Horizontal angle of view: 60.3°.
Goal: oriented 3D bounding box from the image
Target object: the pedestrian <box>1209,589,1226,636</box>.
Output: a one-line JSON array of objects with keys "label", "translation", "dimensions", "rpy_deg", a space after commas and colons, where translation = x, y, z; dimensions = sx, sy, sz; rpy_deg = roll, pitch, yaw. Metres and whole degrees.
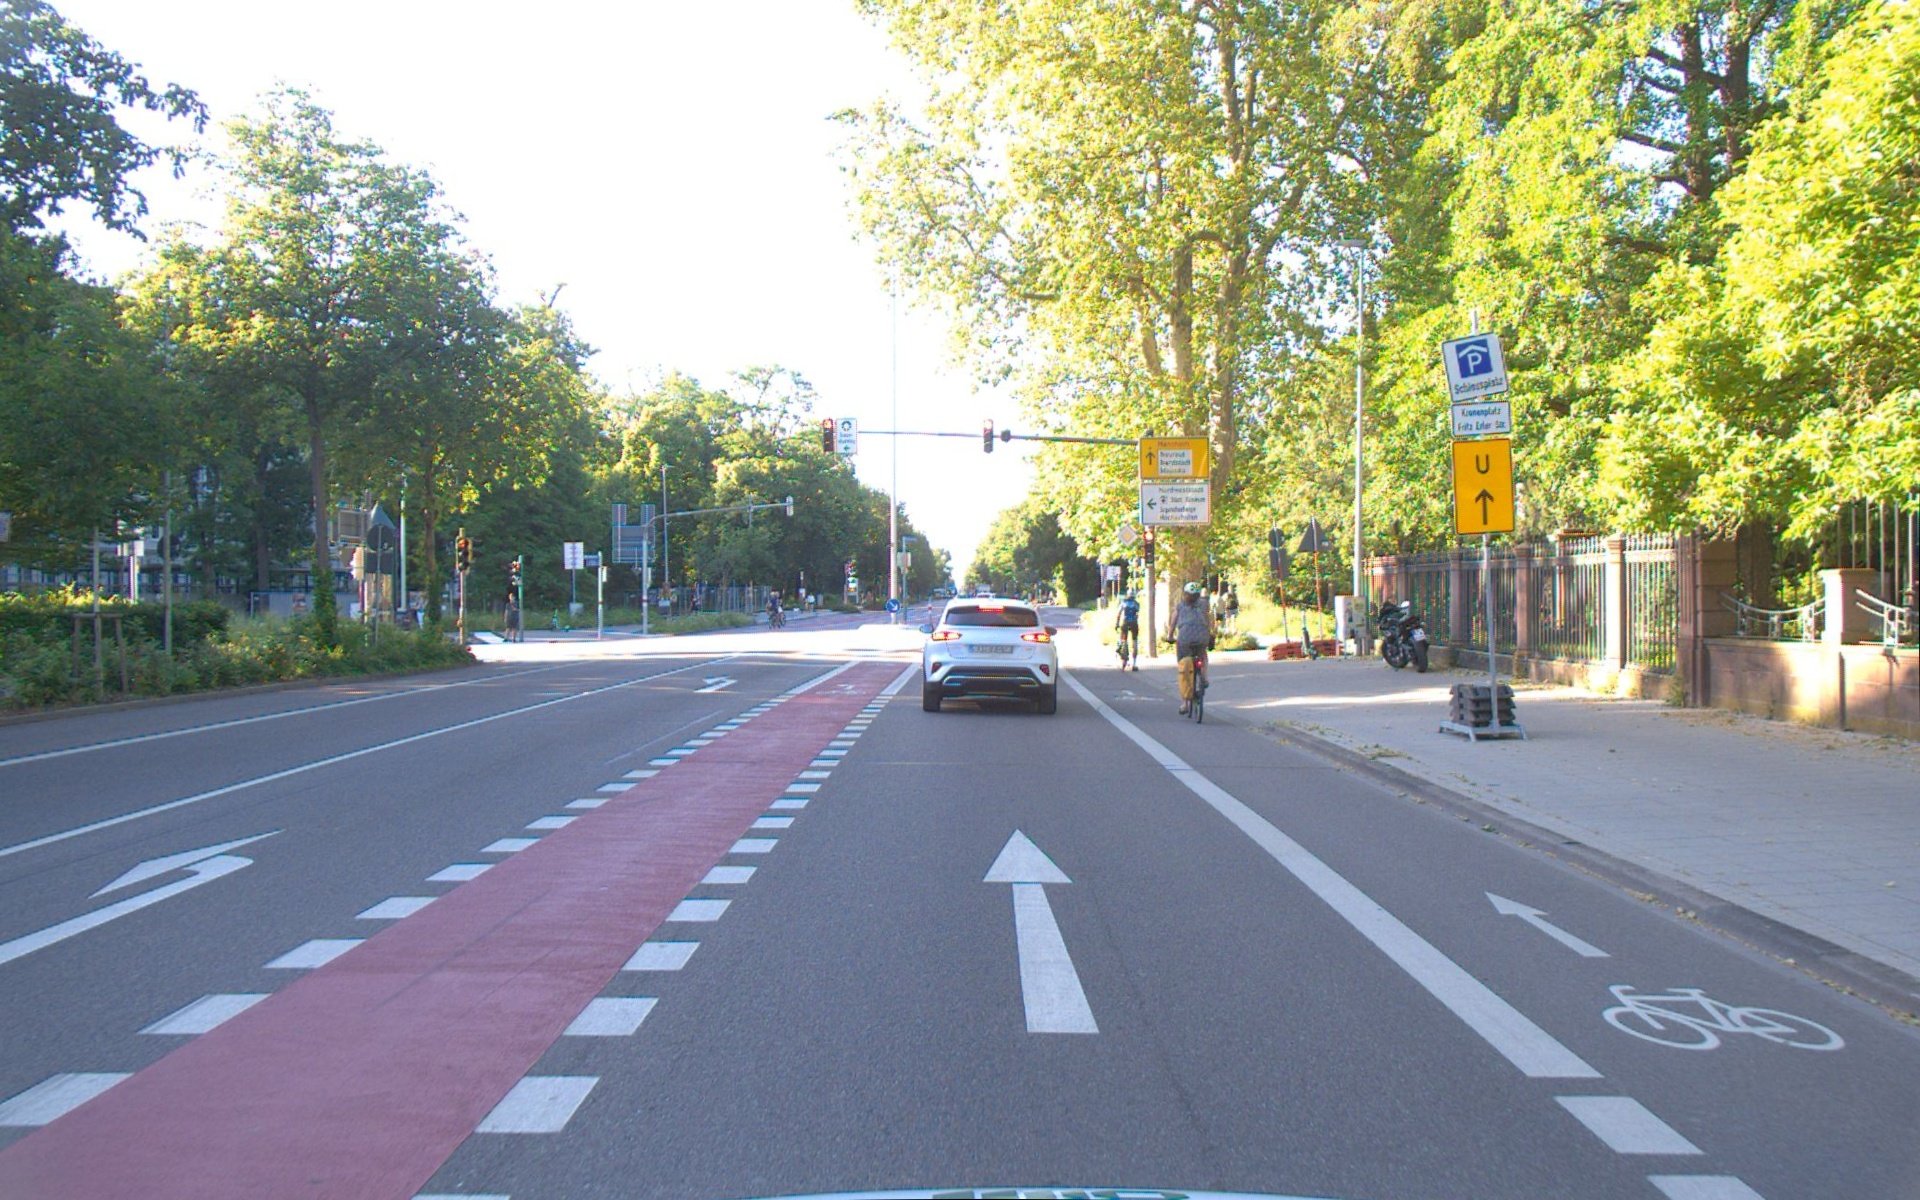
[{"label": "pedestrian", "translation": [9.307, 0.445, 59.754], "dimensions": [0.472, 1.668, 0.432], "rpy_deg": [-3, 3, 6]}]

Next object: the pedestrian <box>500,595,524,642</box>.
[{"label": "pedestrian", "translation": [-18.173, 0.739, 67.116], "dimensions": [0.673, 1.823, 0.769], "rpy_deg": [-4, 1, -1]}]

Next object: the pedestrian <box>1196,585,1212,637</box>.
[{"label": "pedestrian", "translation": [8.793, 0.408, 59.568], "dimensions": [0.472, 1.823, 0.432], "rpy_deg": [-3, 3, 6]}]

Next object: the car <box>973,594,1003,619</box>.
[{"label": "car", "translation": [1.890, 0.395, 110.281], "dimensions": [1.700, 1.573, 4.003], "rpy_deg": [-1, 1, 5]}]

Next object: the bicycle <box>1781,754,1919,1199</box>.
[{"label": "bicycle", "translation": [2.661, 0.969, 3.603], "dimensions": [0.630, 1.042, 2.212], "rpy_deg": [1, 0, 0]}]

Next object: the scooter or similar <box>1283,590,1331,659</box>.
[{"label": "scooter or similar", "translation": [7.350, 0.501, 35.105], "dimensions": [0.554, 1.407, 1.856], "rpy_deg": [-1, 0, -1]}]

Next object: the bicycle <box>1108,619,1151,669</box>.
[{"label": "bicycle", "translation": [3.677, 0.945, 36.020], "dimensions": [0.738, 1.044, 1.869], "rpy_deg": [0, -1, 0]}]

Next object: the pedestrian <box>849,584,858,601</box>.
[{"label": "pedestrian", "translation": [-13.381, -0.950, 208.118], "dimensions": [0.857, 2.187, 1.104], "rpy_deg": [-1, 0, 9]}]

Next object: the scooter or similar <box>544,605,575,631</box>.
[{"label": "scooter or similar", "translation": [-18.460, 0.825, 76.290], "dimensions": [0.500, 1.164, 1.701], "rpy_deg": [-1, 0, 21]}]

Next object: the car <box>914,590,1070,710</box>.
[{"label": "car", "translation": [0.400, 0.631, 23.097], "dimensions": [1.953, 1.478, 4.000], "rpy_deg": [-1, 0, 0]}]

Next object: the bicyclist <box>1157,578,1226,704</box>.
[{"label": "bicyclist", "translation": [2.950, 0.510, 21.144], "dimensions": [0.732, 1.564, 0.969], "rpy_deg": [0, 0, -1]}]

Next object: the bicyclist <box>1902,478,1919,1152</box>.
[{"label": "bicyclist", "translation": [2.655, 0.527, 3.465], "dimensions": [0.623, 1.642, 1.284], "rpy_deg": [0, 0, 0]}]

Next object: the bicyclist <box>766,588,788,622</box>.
[{"label": "bicyclist", "translation": [-9.556, 0.251, 86.464], "dimensions": [0.936, 1.735, 1.233], "rpy_deg": [-1, 0, 1]}]

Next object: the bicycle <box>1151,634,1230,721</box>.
[{"label": "bicycle", "translation": [2.943, 0.969, 21.292], "dimensions": [0.738, 1.044, 1.869], "rpy_deg": [0, -1, 0]}]

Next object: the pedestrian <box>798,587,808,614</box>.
[{"label": "pedestrian", "translation": [-11.879, 0.040, 125.111], "dimensions": [0.643, 2.049, 0.832], "rpy_deg": [-1, 0, -2]}]

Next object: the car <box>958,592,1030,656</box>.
[{"label": "car", "translation": [0.872, 0.620, 44.825], "dimensions": [1.814, 1.619, 4.000], "rpy_deg": [-1, 0, 0]}]

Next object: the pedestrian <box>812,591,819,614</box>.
[{"label": "pedestrian", "translation": [-11.191, 0.169, 127.857], "dimensions": [0.509, 1.735, 0.528], "rpy_deg": [-1, 0, -4]}]

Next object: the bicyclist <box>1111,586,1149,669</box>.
[{"label": "bicyclist", "translation": [3.686, 0.591, 35.916], "dimensions": [0.734, 1.780, 0.843], "rpy_deg": [0, 0, -1]}]

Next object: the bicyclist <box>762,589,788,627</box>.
[{"label": "bicyclist", "translation": [-9.005, 0.381, 80.414], "dimensions": [1.070, 1.785, 1.097], "rpy_deg": [-1, 0, 2]}]

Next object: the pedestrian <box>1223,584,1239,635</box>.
[{"label": "pedestrian", "translation": [9.865, 0.337, 60.228], "dimensions": [0.472, 1.823, 0.432], "rpy_deg": [-3, 3, 6]}]

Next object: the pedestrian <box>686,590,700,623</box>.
[{"label": "pedestrian", "translation": [-15.431, 0.364, 95.626], "dimensions": [0.638, 1.921, 0.663], "rpy_deg": [-1, 0, 2]}]

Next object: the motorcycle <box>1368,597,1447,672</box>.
[{"label": "motorcycle", "translation": [7.643, 0.571, 28.330], "dimensions": [0.648, 1.188, 2.327], "rpy_deg": [-3, 0, 0]}]

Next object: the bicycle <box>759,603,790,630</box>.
[{"label": "bicycle", "translation": [-8.996, 0.796, 80.413], "dimensions": [1.079, 1.277, 2.780], "rpy_deg": [-1, 0, 2]}]

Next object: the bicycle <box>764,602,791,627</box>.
[{"label": "bicycle", "translation": [-9.548, 0.750, 86.553], "dimensions": [0.944, 1.201, 2.952], "rpy_deg": [-1, 0, 2]}]
